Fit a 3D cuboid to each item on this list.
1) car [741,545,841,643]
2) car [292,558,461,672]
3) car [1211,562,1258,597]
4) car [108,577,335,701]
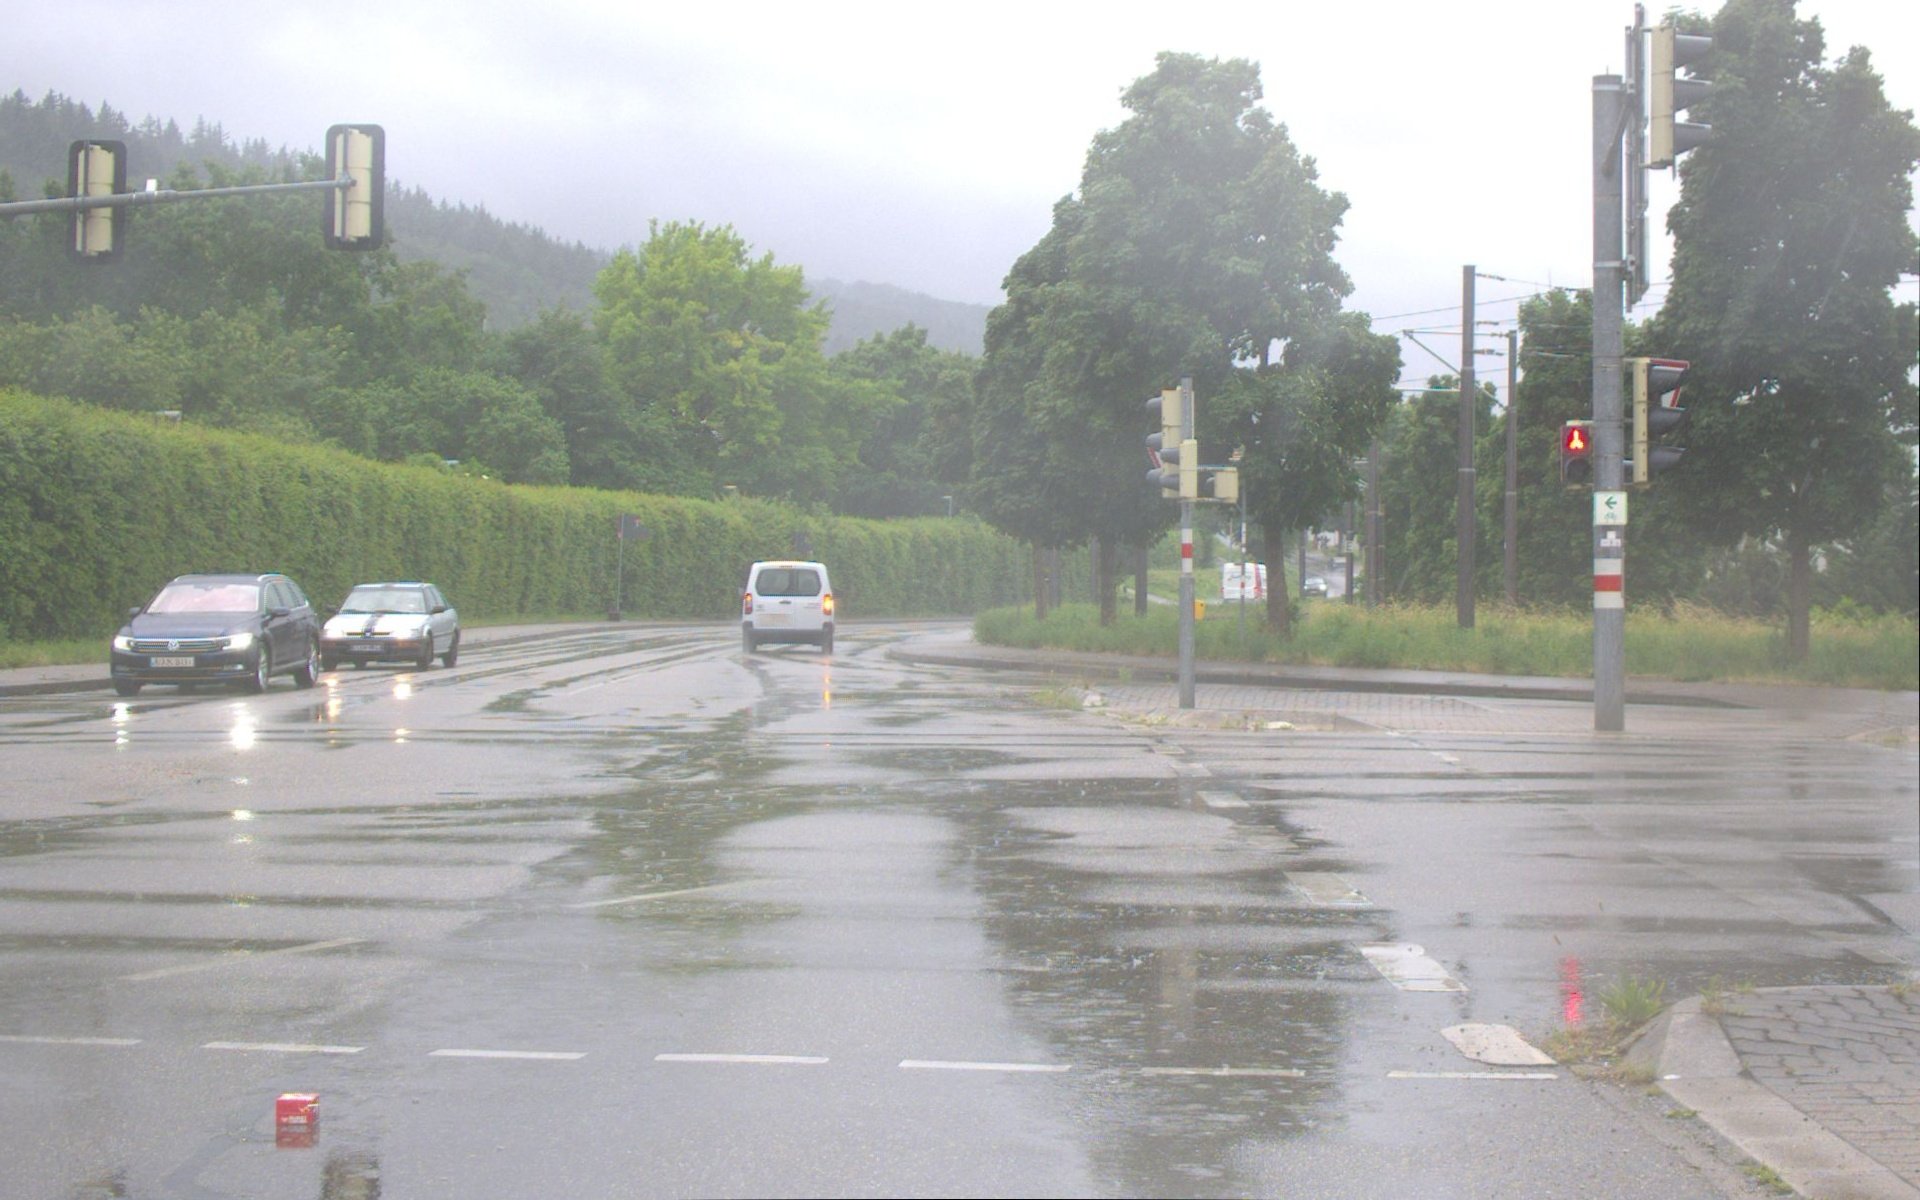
[{"bbox_3d":[-3.367,-0.154,68.768,1.953,1.897,4.120,0,1,-2],"label":"car"},{"bbox_3d":[-9.271,0.202,54.915,2.036,1.702,4.066,1,1,-1],"label":"car"},{"bbox_3d":[15.217,-1.132,190.447,1.933,1.883,4.059,0,1,14],"label":"car"},{"bbox_3d":[-9.273,0.451,43.504,1.709,1.461,4.452,0,1,3],"label":"car"}]
